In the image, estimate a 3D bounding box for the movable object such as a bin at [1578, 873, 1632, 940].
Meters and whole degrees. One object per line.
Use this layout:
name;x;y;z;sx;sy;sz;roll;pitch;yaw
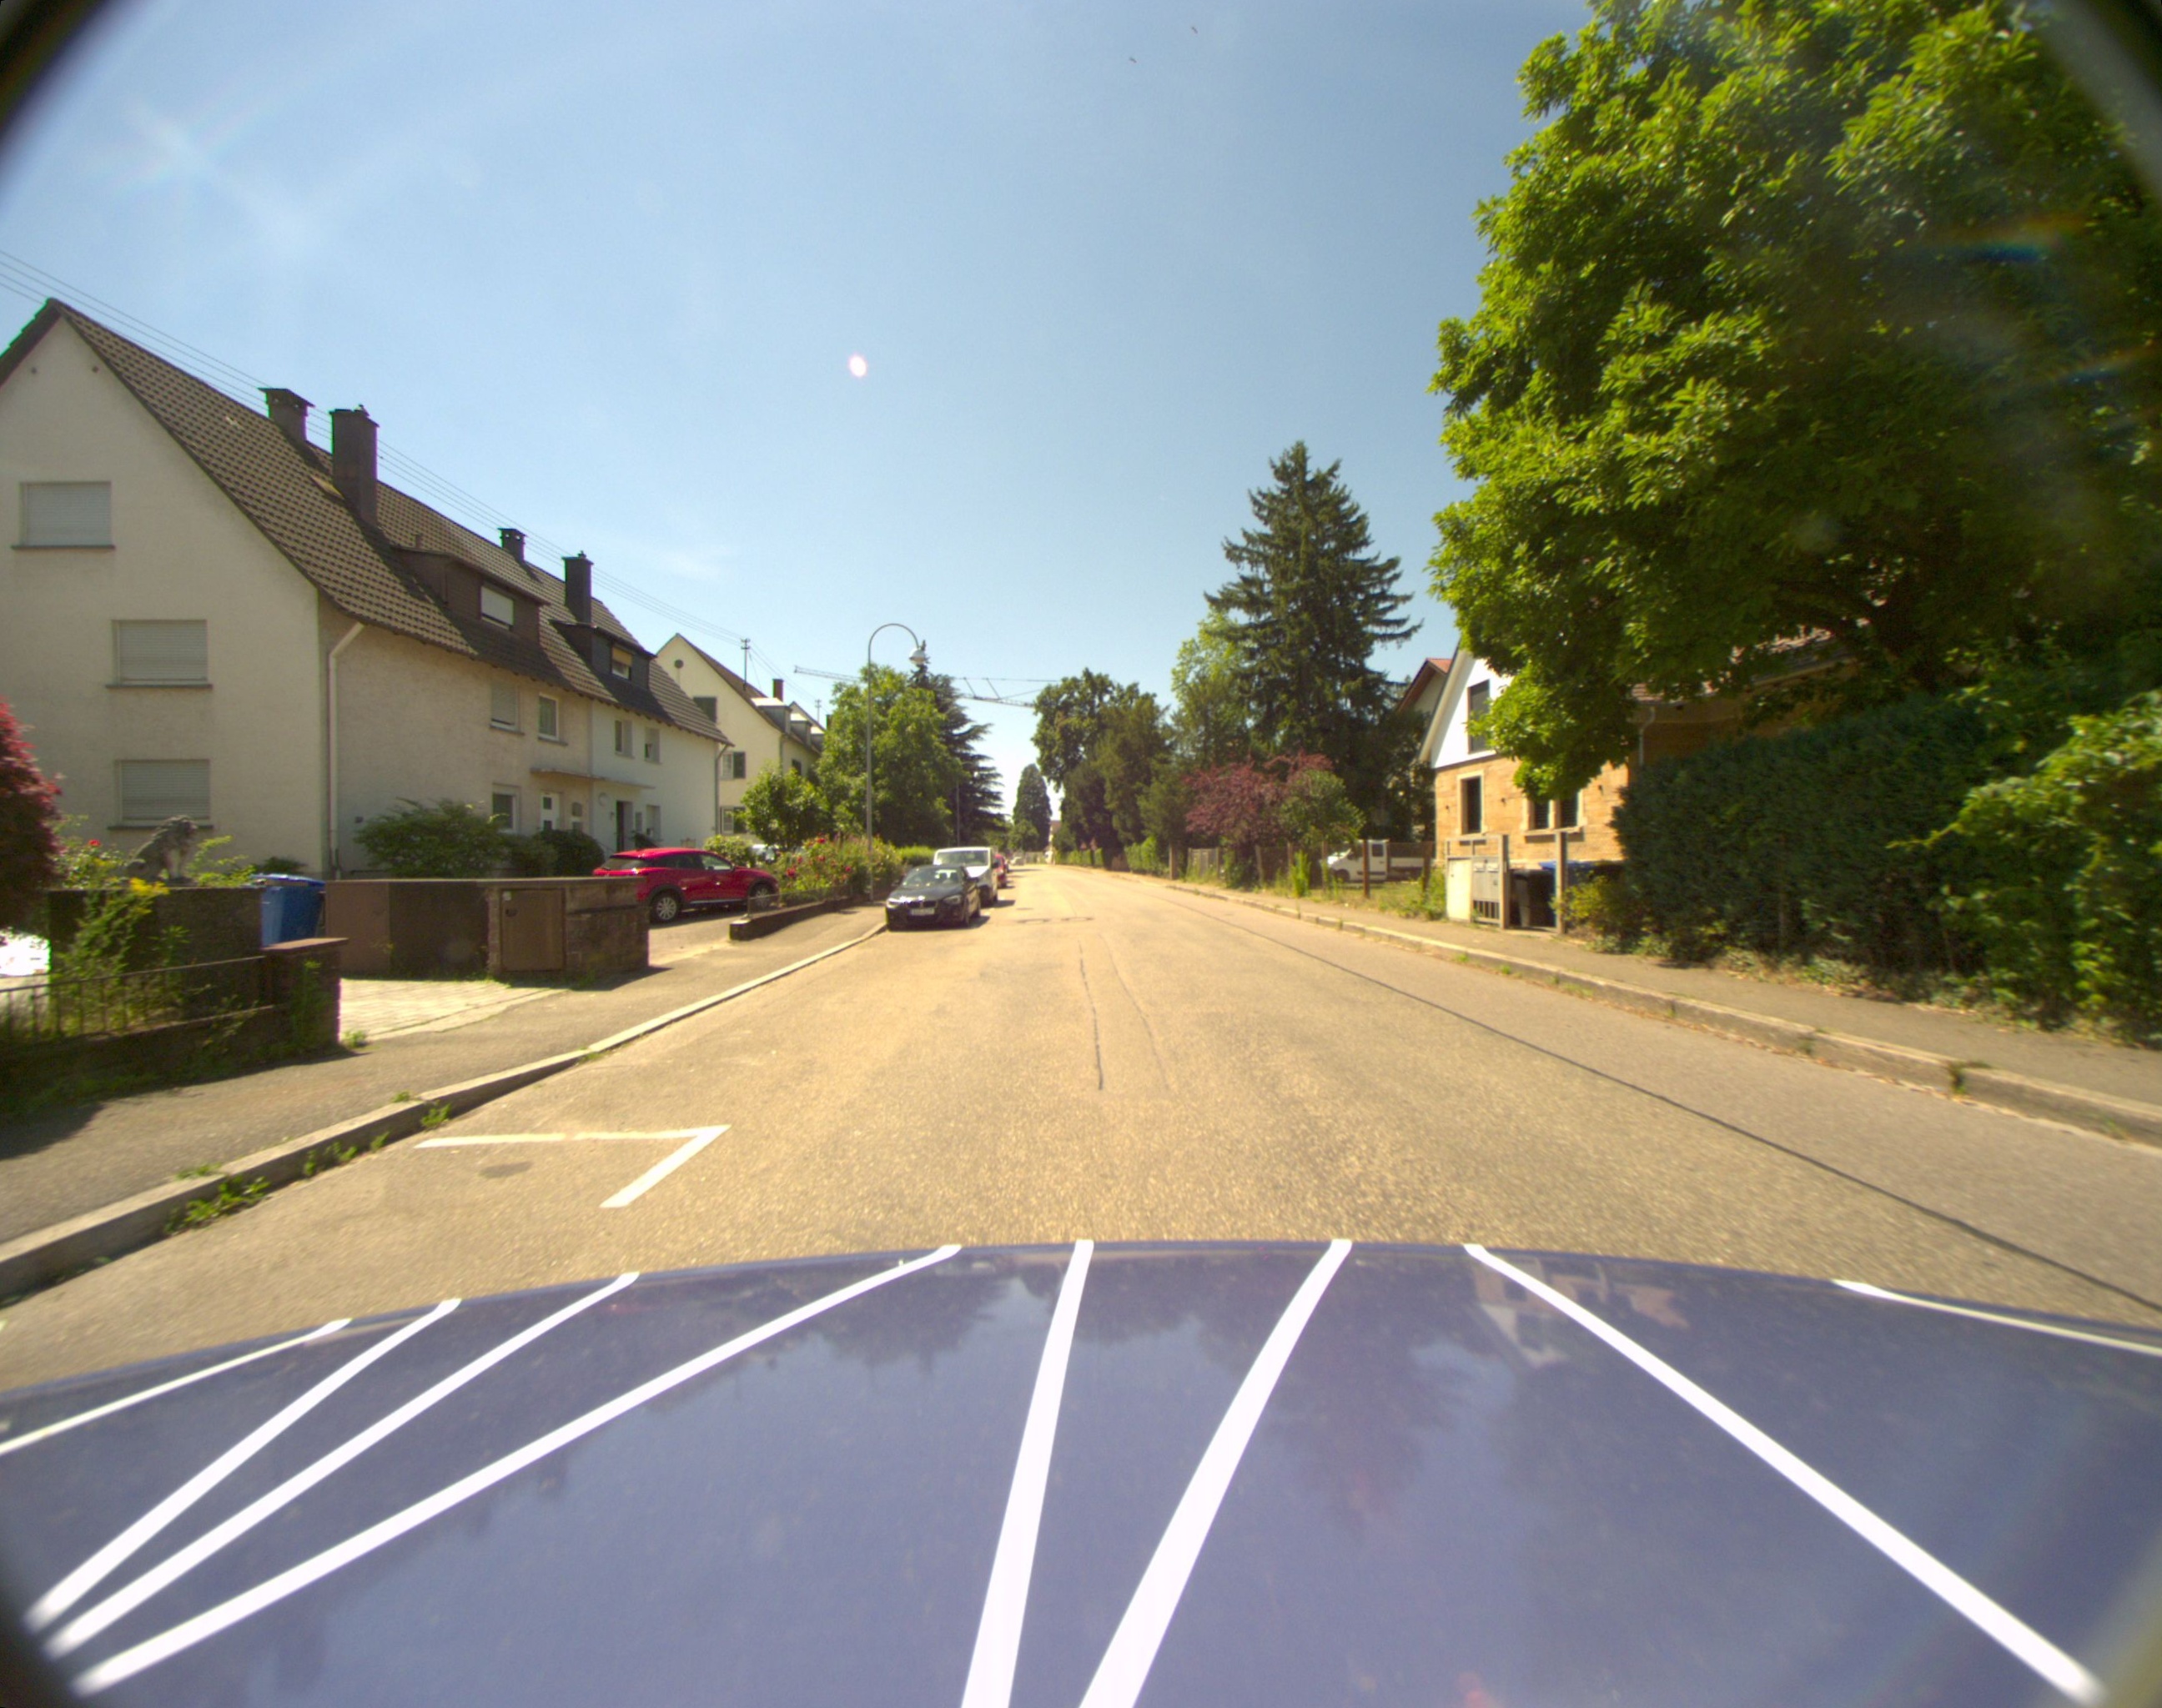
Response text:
movable object such as a bin;8.275;0.821;12.008;0.468;1.003;0.506;-2;0;-3

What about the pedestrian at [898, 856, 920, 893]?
pedestrian;-7.262;0.854;32.099;0.790;1.508;0.708;1;0;-3

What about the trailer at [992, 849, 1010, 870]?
trailer;-8.304;0.539;78.813;1.685;2.056;3.704;-3;2;-7

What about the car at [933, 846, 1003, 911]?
car;-3.660;0.753;25.359;1.908;1.913;4.717;-1;0;-4

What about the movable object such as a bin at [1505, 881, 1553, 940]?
movable object such as a bin;7.181;0.902;12.191;0.468;0.904;0.459;-2;0;-3

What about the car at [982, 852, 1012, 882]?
car;-5.441;0.794;49.680;1.751;1.772;4.541;-3;0;-5

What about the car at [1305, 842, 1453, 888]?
car;15.119;0.575;38.695;6.682;2.158;2.401;1;0;-8

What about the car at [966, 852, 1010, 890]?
car;-4.713;0.816;38.971;1.908;1.718;4.389;-3;0;-4

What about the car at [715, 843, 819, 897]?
car;-11.673;0.601;28.579;1.748;1.845;4.402;2;-1;5

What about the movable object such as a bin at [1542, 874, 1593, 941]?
movable object such as a bin;7.713;0.838;12.057;0.468;1.003;0.506;-2;0;-3

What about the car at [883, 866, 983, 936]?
car;-3.349;1.013;17.868;1.661;1.390;3.999;-1;0;-2

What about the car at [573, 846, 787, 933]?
car;-8.821;0.673;17.137;1.741;1.526;4.056;2;3;23

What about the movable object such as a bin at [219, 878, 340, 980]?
movable object such as a bin;-10.485;0.958;9.966;0.759;1.211;0.749;3;1;5

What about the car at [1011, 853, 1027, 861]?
car;-10.902;0.592;133.184;1.871;1.375;4.598;0;0;-15
